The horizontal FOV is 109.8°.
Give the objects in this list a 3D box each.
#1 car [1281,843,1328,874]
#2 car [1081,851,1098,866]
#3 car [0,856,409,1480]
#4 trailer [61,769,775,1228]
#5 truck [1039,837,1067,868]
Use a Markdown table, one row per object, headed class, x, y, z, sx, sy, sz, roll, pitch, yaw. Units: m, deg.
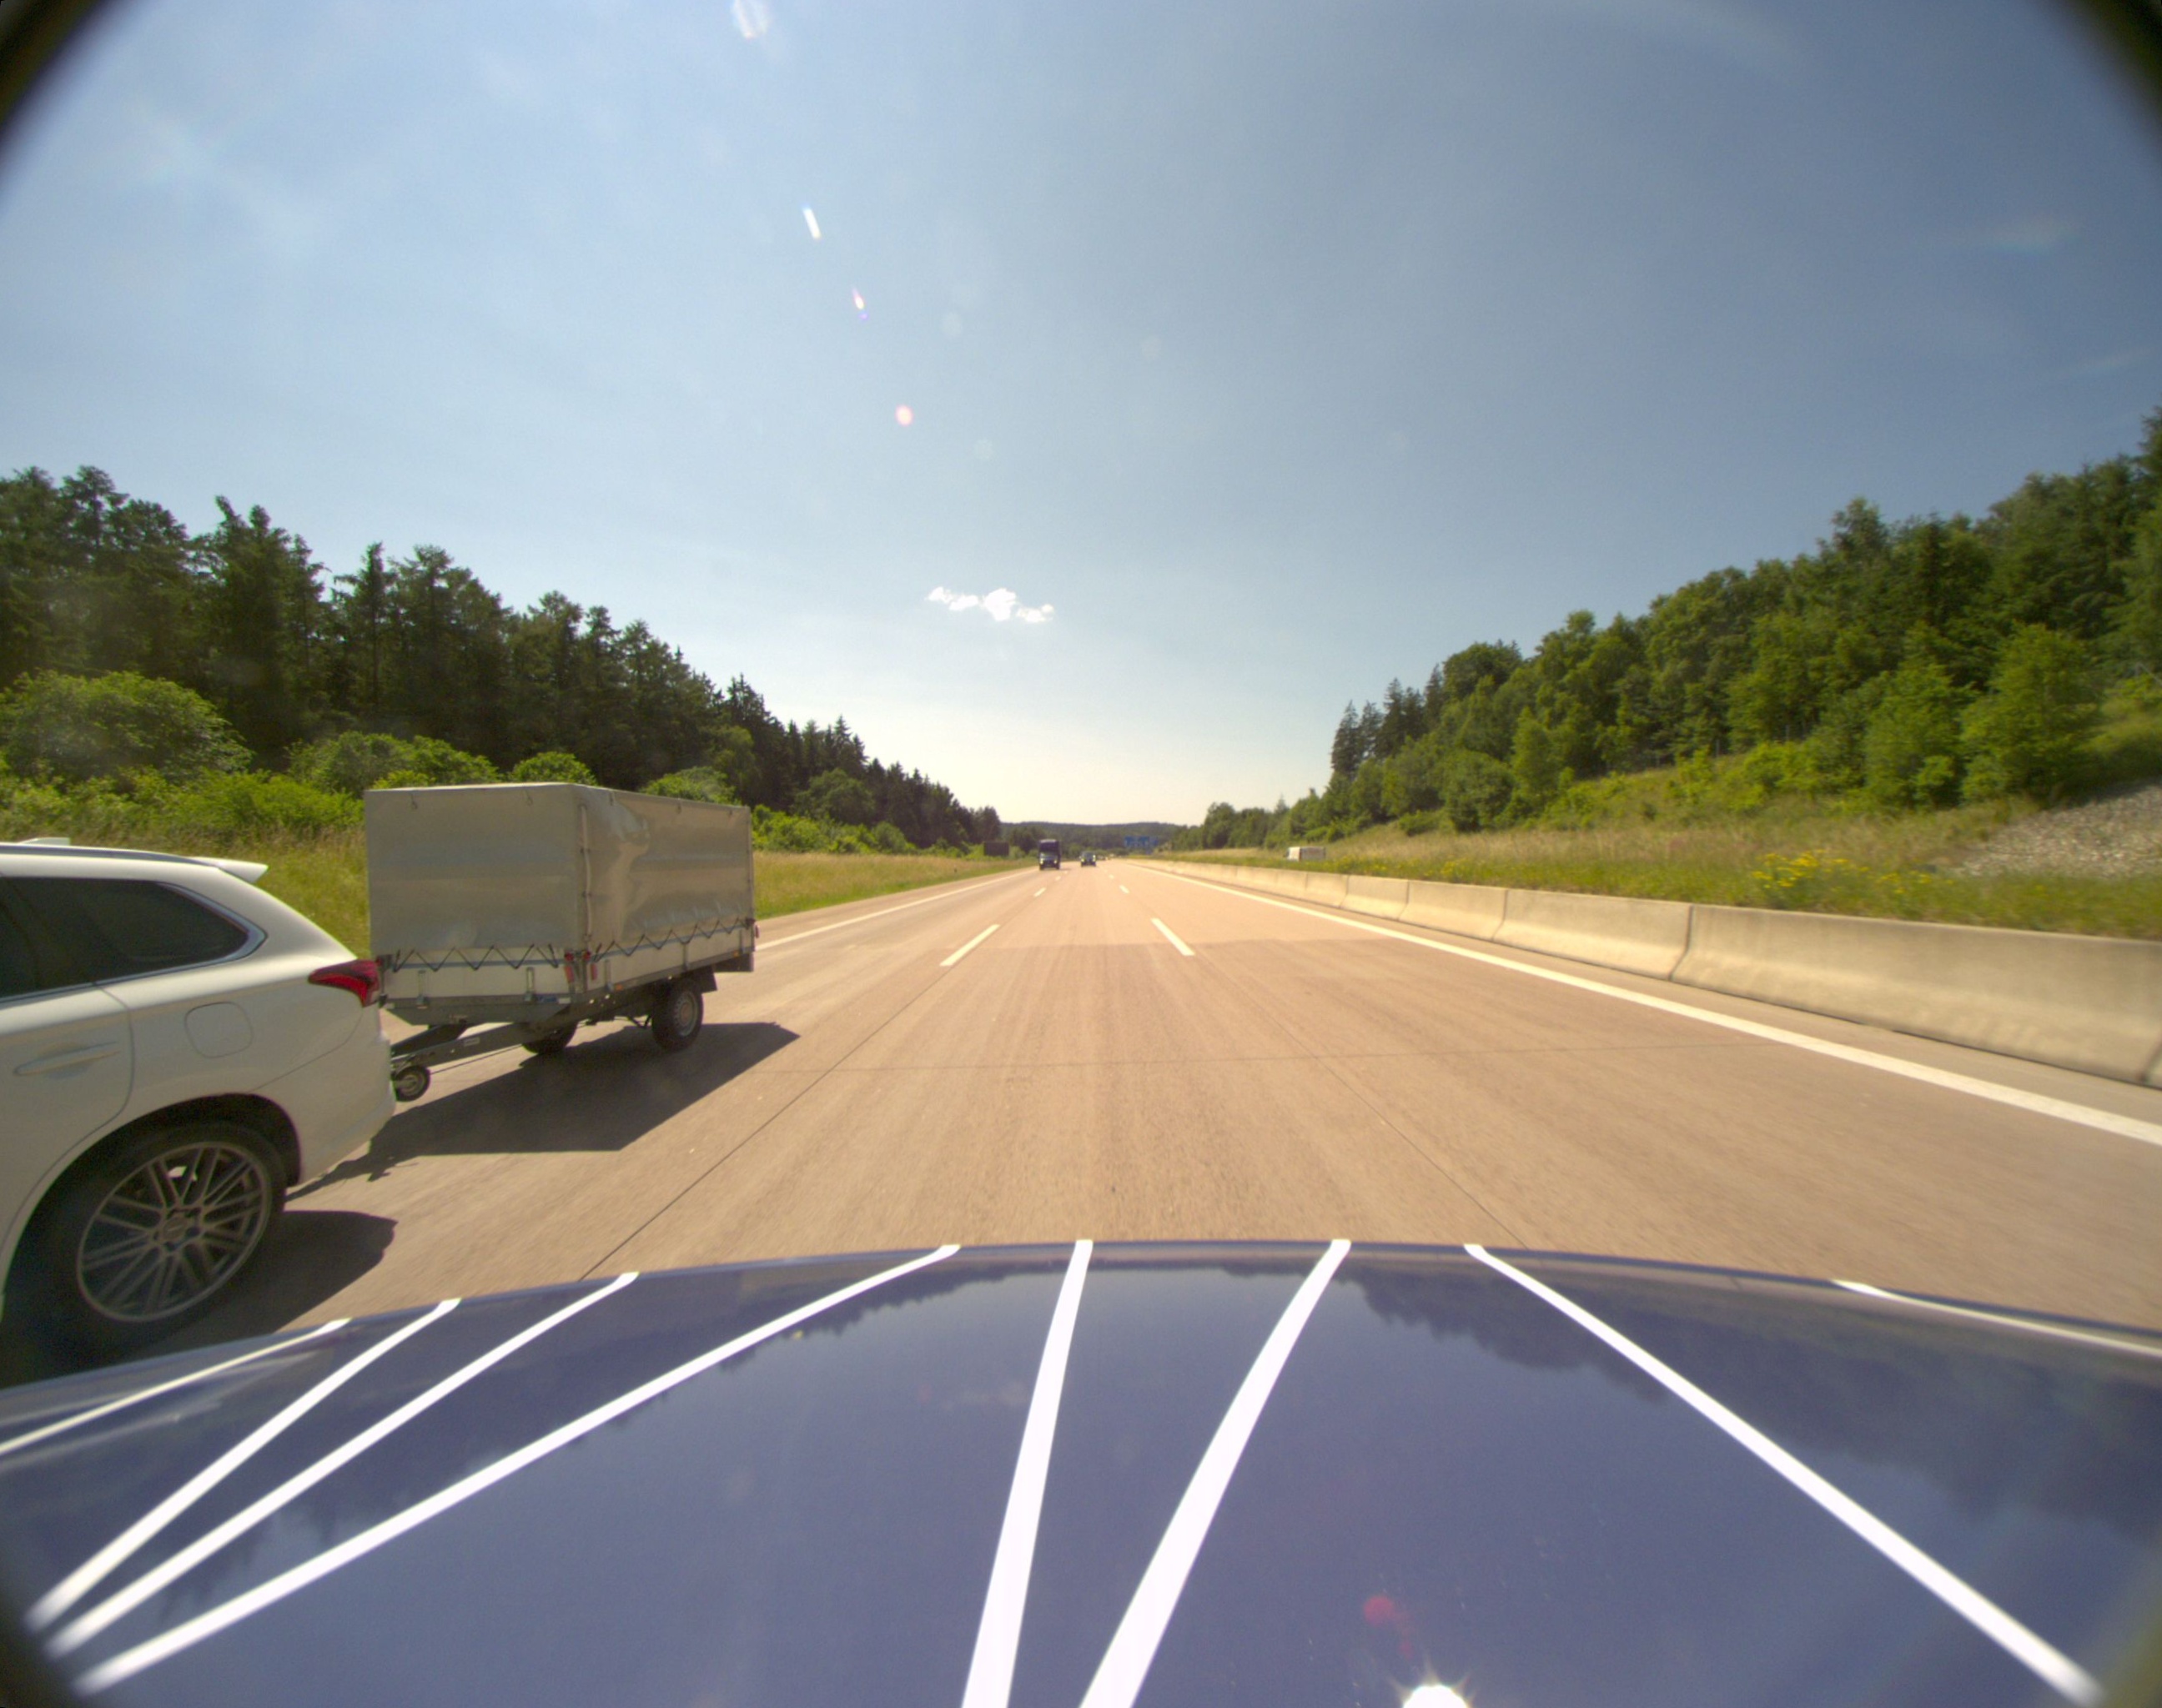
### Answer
| class | x | y | z | sx | sy | sz | roll | pitch | yaw |
| --- | --- | --- | --- | --- | --- | --- | --- | --- | --- |
| car | 15.840 | 0.302 | 54.114 | 1.896 | 2.052 | 4.663 | -2 | 0 | -1 |
| car | 1.151 | 0.545 | 97.209 | 1.998 | 1.805 | 4.565 | -2 | 0 | 3 |
| car | -3.999 | 0.922 | 0.776 | 1.895 | 1.718 | 5.186 | -2 | 1 | 1 |
| trailer | -3.980 | 0.703 | 5.639 | 1.661 | 2.151 | 4.016 | -2 | 0 | 1 |
| truck | -2.980 | -0.108 | 83.524 | 2.508 | 3.199 | 7.785 | -2 | 0 | 2 |
